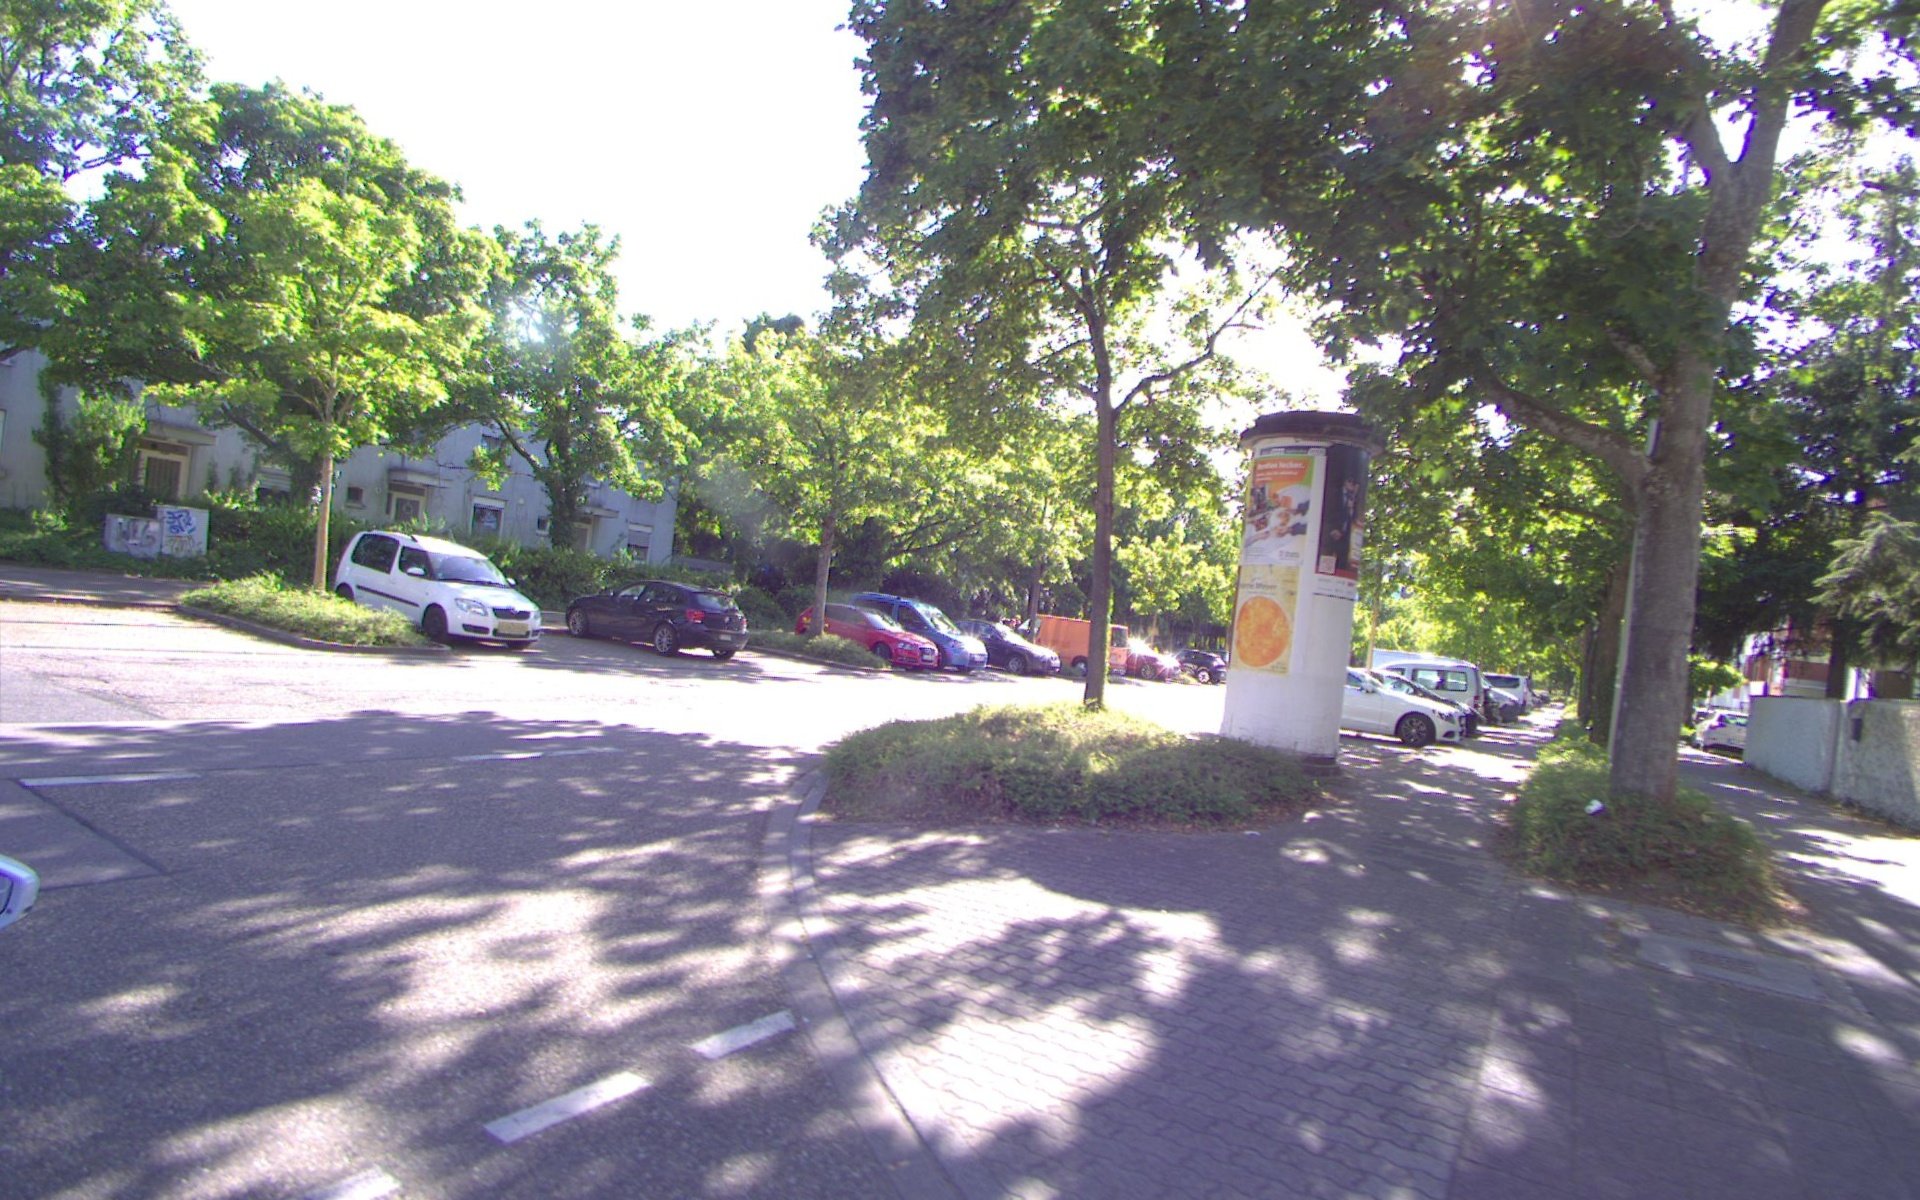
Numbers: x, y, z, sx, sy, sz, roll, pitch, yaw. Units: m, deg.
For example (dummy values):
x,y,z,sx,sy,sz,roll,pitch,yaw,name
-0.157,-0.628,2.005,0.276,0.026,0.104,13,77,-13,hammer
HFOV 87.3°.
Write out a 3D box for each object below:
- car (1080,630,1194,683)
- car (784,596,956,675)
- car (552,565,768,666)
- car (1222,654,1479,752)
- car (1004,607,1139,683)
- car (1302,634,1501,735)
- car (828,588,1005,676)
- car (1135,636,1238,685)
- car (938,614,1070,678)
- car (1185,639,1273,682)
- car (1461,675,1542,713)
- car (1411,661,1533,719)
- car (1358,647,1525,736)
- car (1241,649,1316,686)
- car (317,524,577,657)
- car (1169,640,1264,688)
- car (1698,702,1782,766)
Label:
x,y,z,sx,sy,sz,roll,pitch,yaw,name
7.487,2.394,42.600,4.188,1.591,1.970,8,1,31,car
-2.383,0.917,26.382,4.098,1.423,1.826,8,1,31,car
-6.167,0.308,20.550,4.098,1.423,1.826,8,1,31,car
8.028,2.066,20.857,4.614,1.423,1.825,4,-2,34,car
4.001,1.607,36.225,4.188,2.057,1.970,8,1,31,car
11.998,2.260,27.401,4.559,2.015,1.997,7,-1,31,car
-1.269,0.881,28.547,4.586,1.794,1.825,8,1,31,car
10.691,2.854,47.467,4.188,1.634,1.970,8,1,31,car
1.414,1.487,32.507,3.723,1.492,1.765,8,1,31,car
14.959,3.386,56.066,4.188,1.737,1.970,8,1,31,car
36.101,6.264,67.077,4.490,1.852,1.997,7,-1,31,car
22.596,3.966,44.445,4.490,1.852,1.997,7,-1,31,car
17.383,3.259,36.388,5.050,2.407,1.997,7,-1,31,car
20.813,4.381,65.708,4.188,1.737,1.970,8,1,31,car
-8.570,-0.177,16.742,4.098,1.618,1.826,8,1,31,car
13.164,3.274,51.743,4.188,1.775,1.970,8,1,31,car
25.501,4.327,33.001,1.807,1.634,4.131,9,1,36,car
